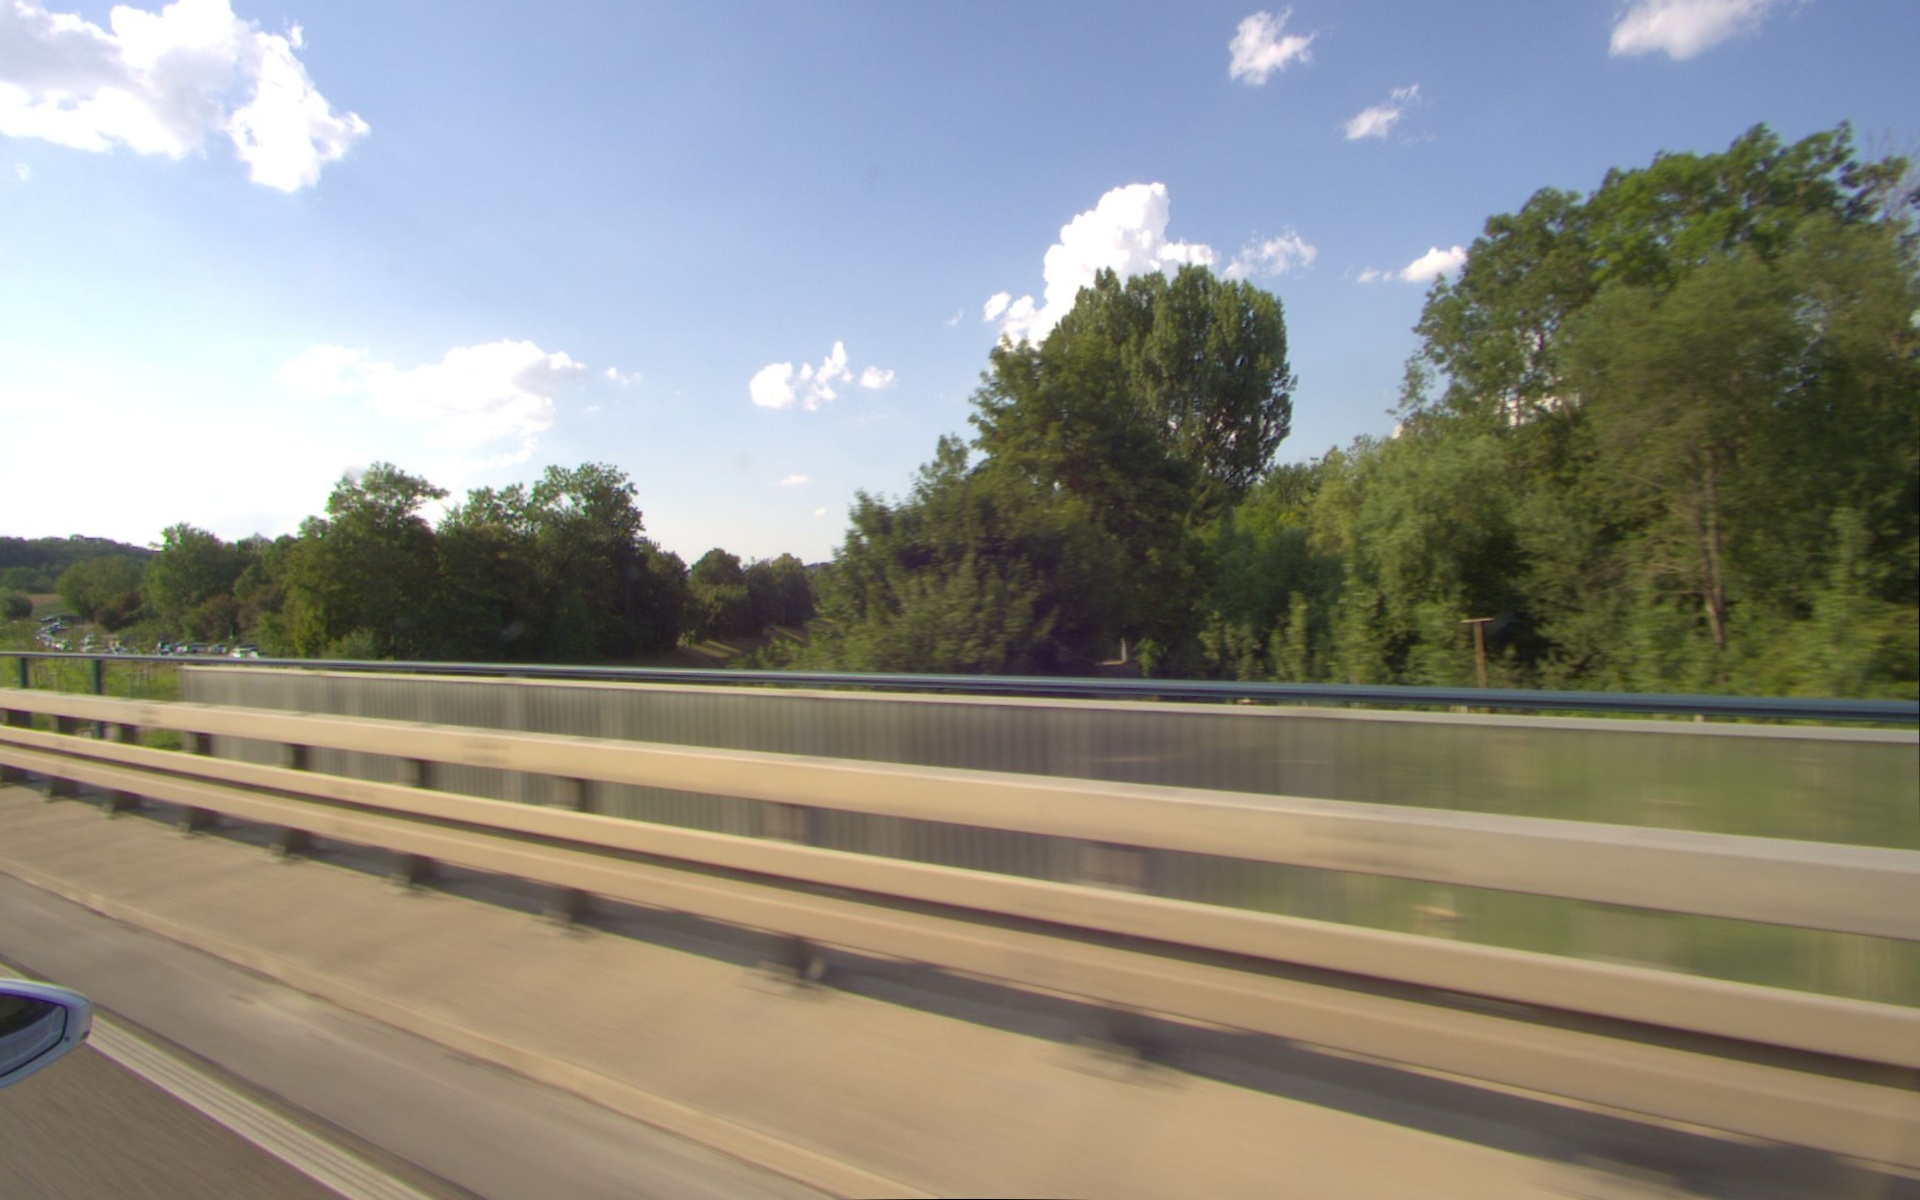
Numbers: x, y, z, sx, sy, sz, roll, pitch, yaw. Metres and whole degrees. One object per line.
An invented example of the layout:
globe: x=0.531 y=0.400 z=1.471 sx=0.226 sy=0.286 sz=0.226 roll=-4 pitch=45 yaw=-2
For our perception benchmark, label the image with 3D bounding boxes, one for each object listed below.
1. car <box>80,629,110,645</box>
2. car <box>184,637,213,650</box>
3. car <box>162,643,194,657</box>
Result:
car: x=-126.606 y=5.365 z=146.529 sx=5.307 sy=2.046 sz=2.111 roll=1 pitch=4 yaw=36
car: x=-93.039 y=5.338 z=122.335 sx=4.165 sy=1.516 sz=1.650 roll=-1 pitch=-1 yaw=34
car: x=-98.372 y=6.309 z=125.937 sx=4.194 sy=1.420 sz=1.814 roll=1 pitch=2 yaw=32
